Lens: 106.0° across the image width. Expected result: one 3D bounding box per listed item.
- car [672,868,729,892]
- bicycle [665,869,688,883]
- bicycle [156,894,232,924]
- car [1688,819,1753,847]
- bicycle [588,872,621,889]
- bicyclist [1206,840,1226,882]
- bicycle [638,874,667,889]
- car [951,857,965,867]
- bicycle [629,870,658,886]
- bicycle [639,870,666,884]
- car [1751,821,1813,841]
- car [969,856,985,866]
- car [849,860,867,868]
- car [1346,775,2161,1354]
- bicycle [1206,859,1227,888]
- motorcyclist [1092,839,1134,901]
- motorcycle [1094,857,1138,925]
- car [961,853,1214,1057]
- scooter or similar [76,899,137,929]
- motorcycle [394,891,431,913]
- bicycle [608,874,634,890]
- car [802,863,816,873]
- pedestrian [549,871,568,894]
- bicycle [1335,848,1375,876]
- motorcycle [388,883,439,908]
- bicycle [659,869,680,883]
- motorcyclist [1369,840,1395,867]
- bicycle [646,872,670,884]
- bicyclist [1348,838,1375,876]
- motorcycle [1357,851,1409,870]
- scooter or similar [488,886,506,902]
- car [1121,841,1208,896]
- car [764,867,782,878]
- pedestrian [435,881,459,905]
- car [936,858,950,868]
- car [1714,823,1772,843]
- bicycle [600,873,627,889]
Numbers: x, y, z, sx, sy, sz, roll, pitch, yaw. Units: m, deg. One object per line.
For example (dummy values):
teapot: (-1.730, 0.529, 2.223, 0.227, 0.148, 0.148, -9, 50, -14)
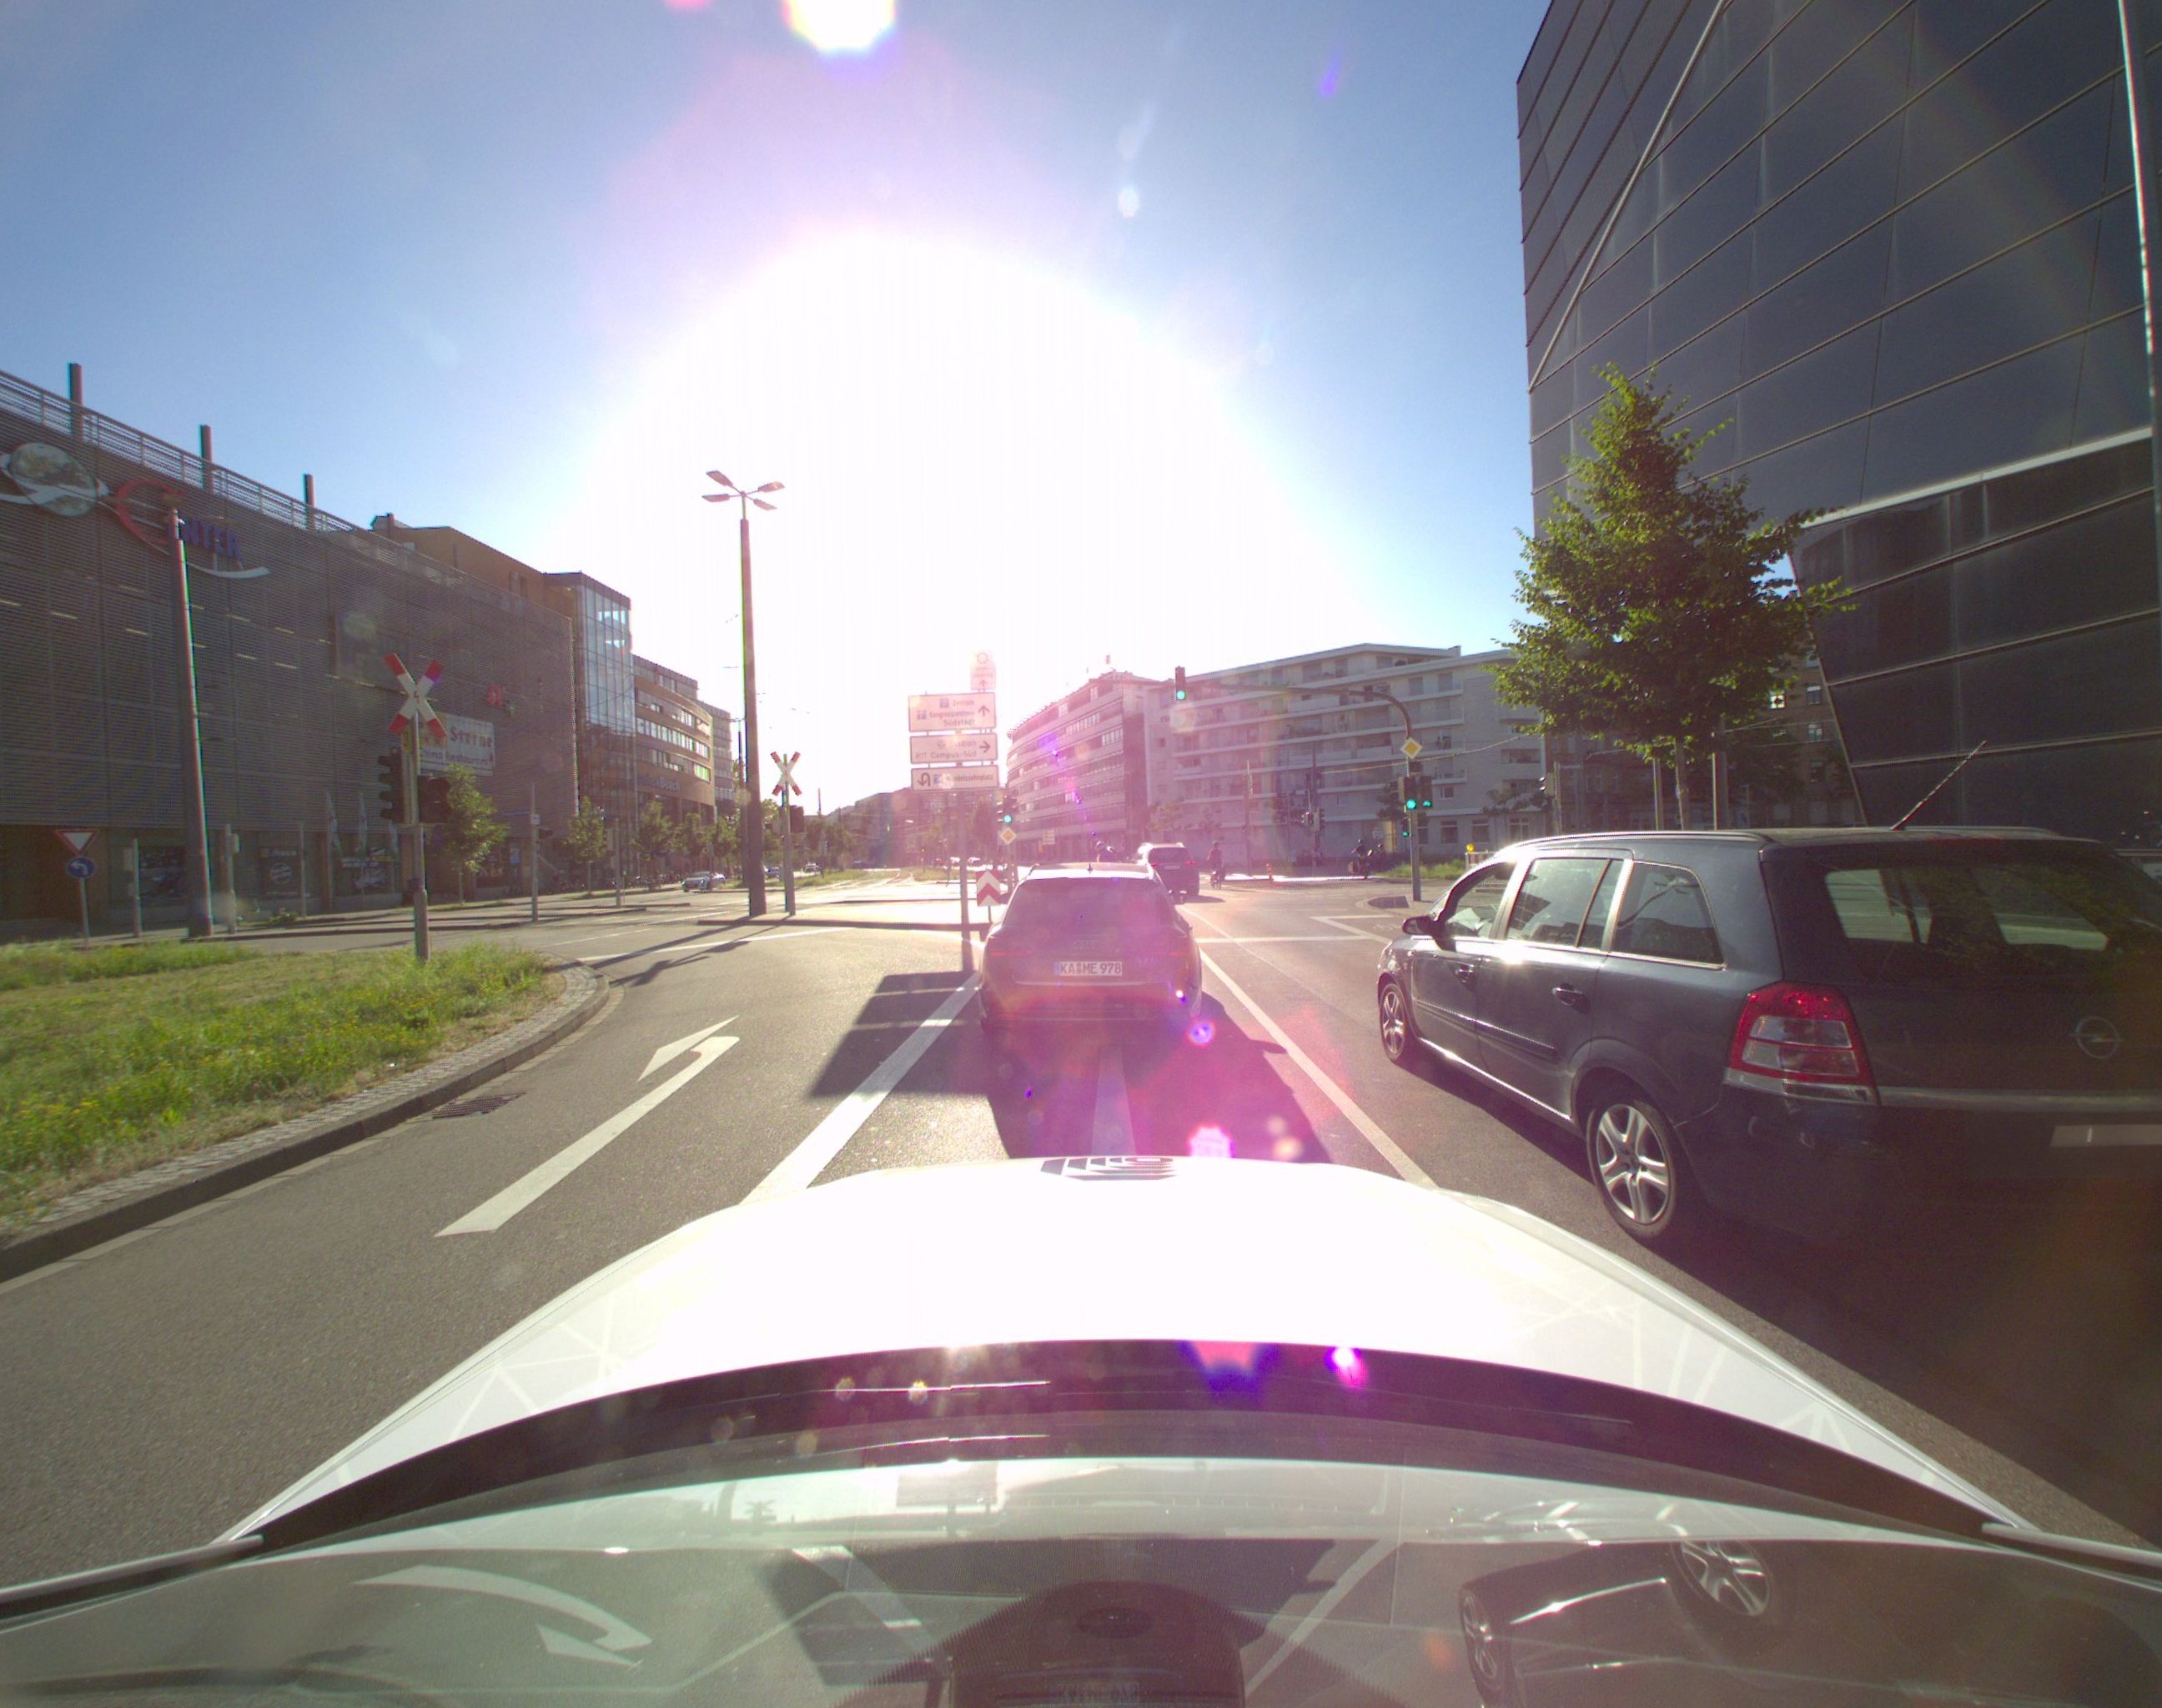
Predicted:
car: (-27.934, 1.887, 59.899, 1.987, 1.545, 4.530, -2, 0, 0)
bicycle: (-47.445, 2.598, 95.503, 2.405, 1.433, 0.791, -3, -1, 10)
bicycle: (-41.852, 2.597, 38.469, 0.796, 1.220, 2.418, -2, 0, 5)
car: (58.642, -1.887, 74.771, 4.543, 2.310, 2.013, -2, 0, 37)
bicycle: (-44.008, 2.423, 75.220, 2.355, 1.433, 1.079, -3, -1, 10)
bicyclist: (5.417, 0.287, 32.756, 0.651, 1.642, 0.973, -2, 0, 5)
bicycle: (-43.928, 2.815, 83.434, 2.546, 1.433, 0.907, -3, -1, 10)
car: (-21.033, 1.410, 139.103, 1.996, 1.596, 3.981, -3, -1, -14)
bicycle: (-43.606, 2.402, 81.181, 2.546, 1.433, 0.907, -3, -1, 10)
bicycle: (-47.323, 2.554, 89.950, 2.591, 1.433, 0.773, -3, -1, 10)
car: (56.253, -1.829, 65.443, 1.981, 1.354, 4.012, -3, -1, 11)
car: (-17.468, 1.161, 136.605, 1.999, 1.596, 3.976, -3, -1, -17)
car: (-50.342, 2.288, 183.601, 1.979, 1.640, 4.428, -2, 0, 13)
car: (2.964, 0.619, 4.523, 1.739, 1.696, 4.263, 0, 0, 2)
bicycle: (5.444, 0.766, 32.760, 0.651, 1.043, 1.932, -2, 0, 5)
motorcyclist: (0.691, 0.342, 18.028, 0.860, 1.326, 0.681, -2, 0, 0)
motorcycle: (0.753, 0.787, 18.062, 0.860, 1.393, 1.893, -2, 0, 0)
car: (0.095, 0.740, 7.971, 1.835, 1.454, 4.001, -1, 0, 1)
scooter or similar: (-43.809, 2.693, 36.643, 0.790, 1.207, 1.575, -3, -1, 2)
motorcycle: (-41.878, 3.008, 51.057, 0.673, 1.238, 1.894, -3, -1, 1)
bicycle: (-43.727, 2.644, 77.395, 1.965, 1.433, 0.809, -3, -1, 10)
car: (-50.227, 2.590, 150.479, 1.996, 1.640, 4.391, -2, 0, -13)
pedestrian: (-42.408, 2.315, 66.134, 0.823, 1.824, 0.905, -3, -1, 3)
bicycle: (12.708, 0.369, 37.834, 0.767, 1.262, 2.072, -2, 0, -13)
motorcycle: (-43.254, 2.671, 52.794, 0.962, 1.446, 2.619, -2, 0, 5)
bicycle: (-47.621, 2.536, 94.276, 2.125, 1.433, 0.761, -3, -1, 10)
motorcyclist: (16.965, -0.023, 45.983, 0.923, 1.481, 1.169, -2, 0, -5)
bicycle: (-47.439, 2.668, 91.380, 2.399, 1.236, 0.747, -3, -1, 10)
bicyclist: (12.835, 0.127, 37.276, 0.767, 1.706, 0.926, -2, 0, -14)
motorcycle: (17.028, 0.366, 45.984, 2.449, 1.000, 1.169, -2, 0, -6)
scooter or similar: (-43.054, 2.965, 60.033, 0.419, 1.110, 1.153, -3, -1, 2)
car: (2.782, 0.433, 28.041, 2.002, 1.715, 4.360, -1, 0, -8)
car: (-40.230, 2.391, 106.285, 1.903, 1.407, 3.968, -3, 0, -24)
pedestrian: (-44.368, 2.717, 57.008, 0.984, 1.566, 0.829, -3, -1, 1)
car: (-24.513, 1.624, 144.346, 1.998, 1.706, 3.977, -3, -1, -17)
car: (54.073, -1.698, 66.582, 1.981, 1.354, 4.012, -3, -1, 11)
bicycle: (-43.808, 2.511, 76.288, 2.070, 1.433, 0.863, -3, -1, 10)
